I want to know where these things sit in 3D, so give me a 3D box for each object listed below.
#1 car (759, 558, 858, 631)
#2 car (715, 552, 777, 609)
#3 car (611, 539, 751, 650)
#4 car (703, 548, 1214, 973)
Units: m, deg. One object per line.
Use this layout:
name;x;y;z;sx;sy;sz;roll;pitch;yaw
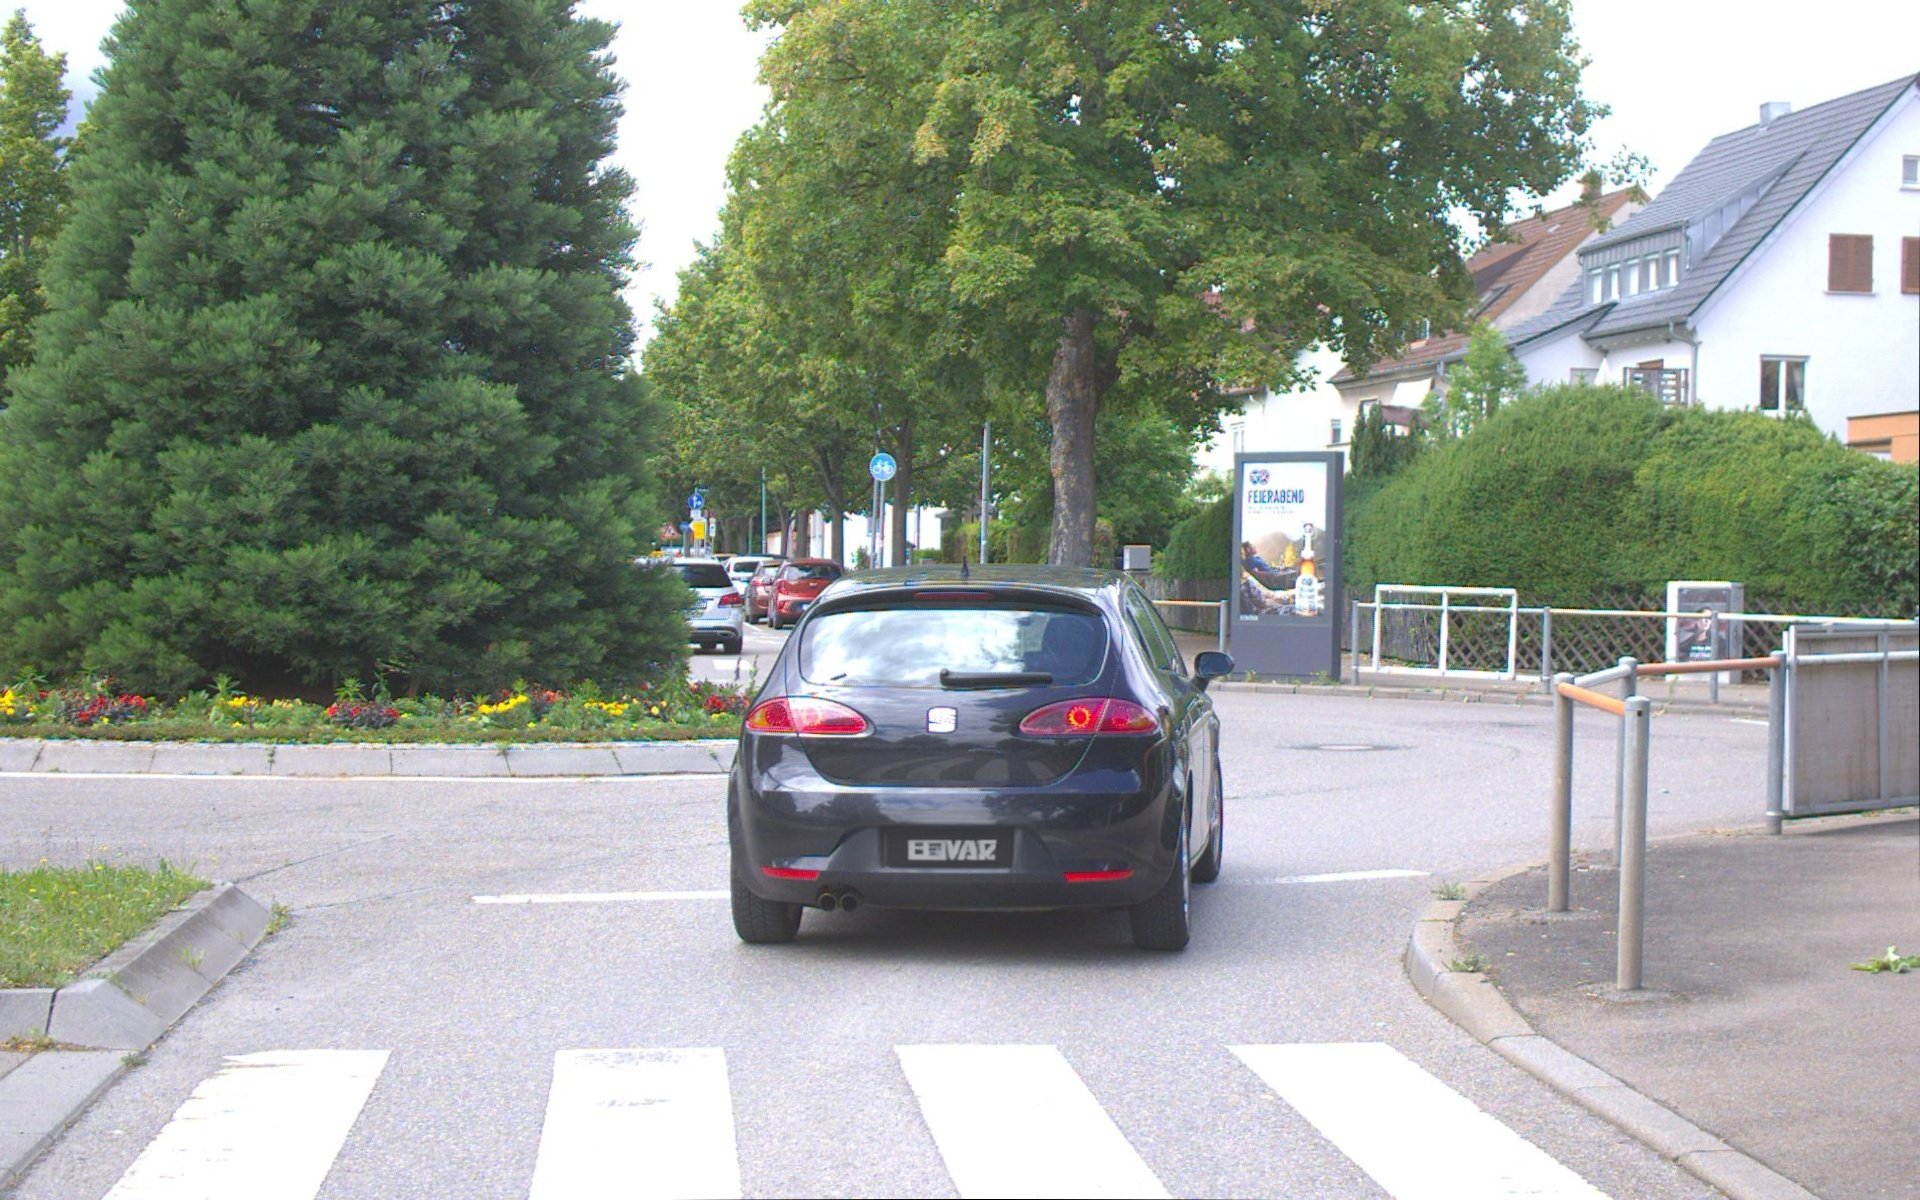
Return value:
car;-3.229;-0.132;72.736;1.474;1.484;3.383;1;1;-13
car;-5.878;-0.546;94.094;1.594;1.505;3.601;0;1;-5
car;-4.361;-0.106;53.217;1.993;1.607;4.001;1;1;-6
car;0.135;0.541;14.189;1.732;1.481;3.999;1;1;5
